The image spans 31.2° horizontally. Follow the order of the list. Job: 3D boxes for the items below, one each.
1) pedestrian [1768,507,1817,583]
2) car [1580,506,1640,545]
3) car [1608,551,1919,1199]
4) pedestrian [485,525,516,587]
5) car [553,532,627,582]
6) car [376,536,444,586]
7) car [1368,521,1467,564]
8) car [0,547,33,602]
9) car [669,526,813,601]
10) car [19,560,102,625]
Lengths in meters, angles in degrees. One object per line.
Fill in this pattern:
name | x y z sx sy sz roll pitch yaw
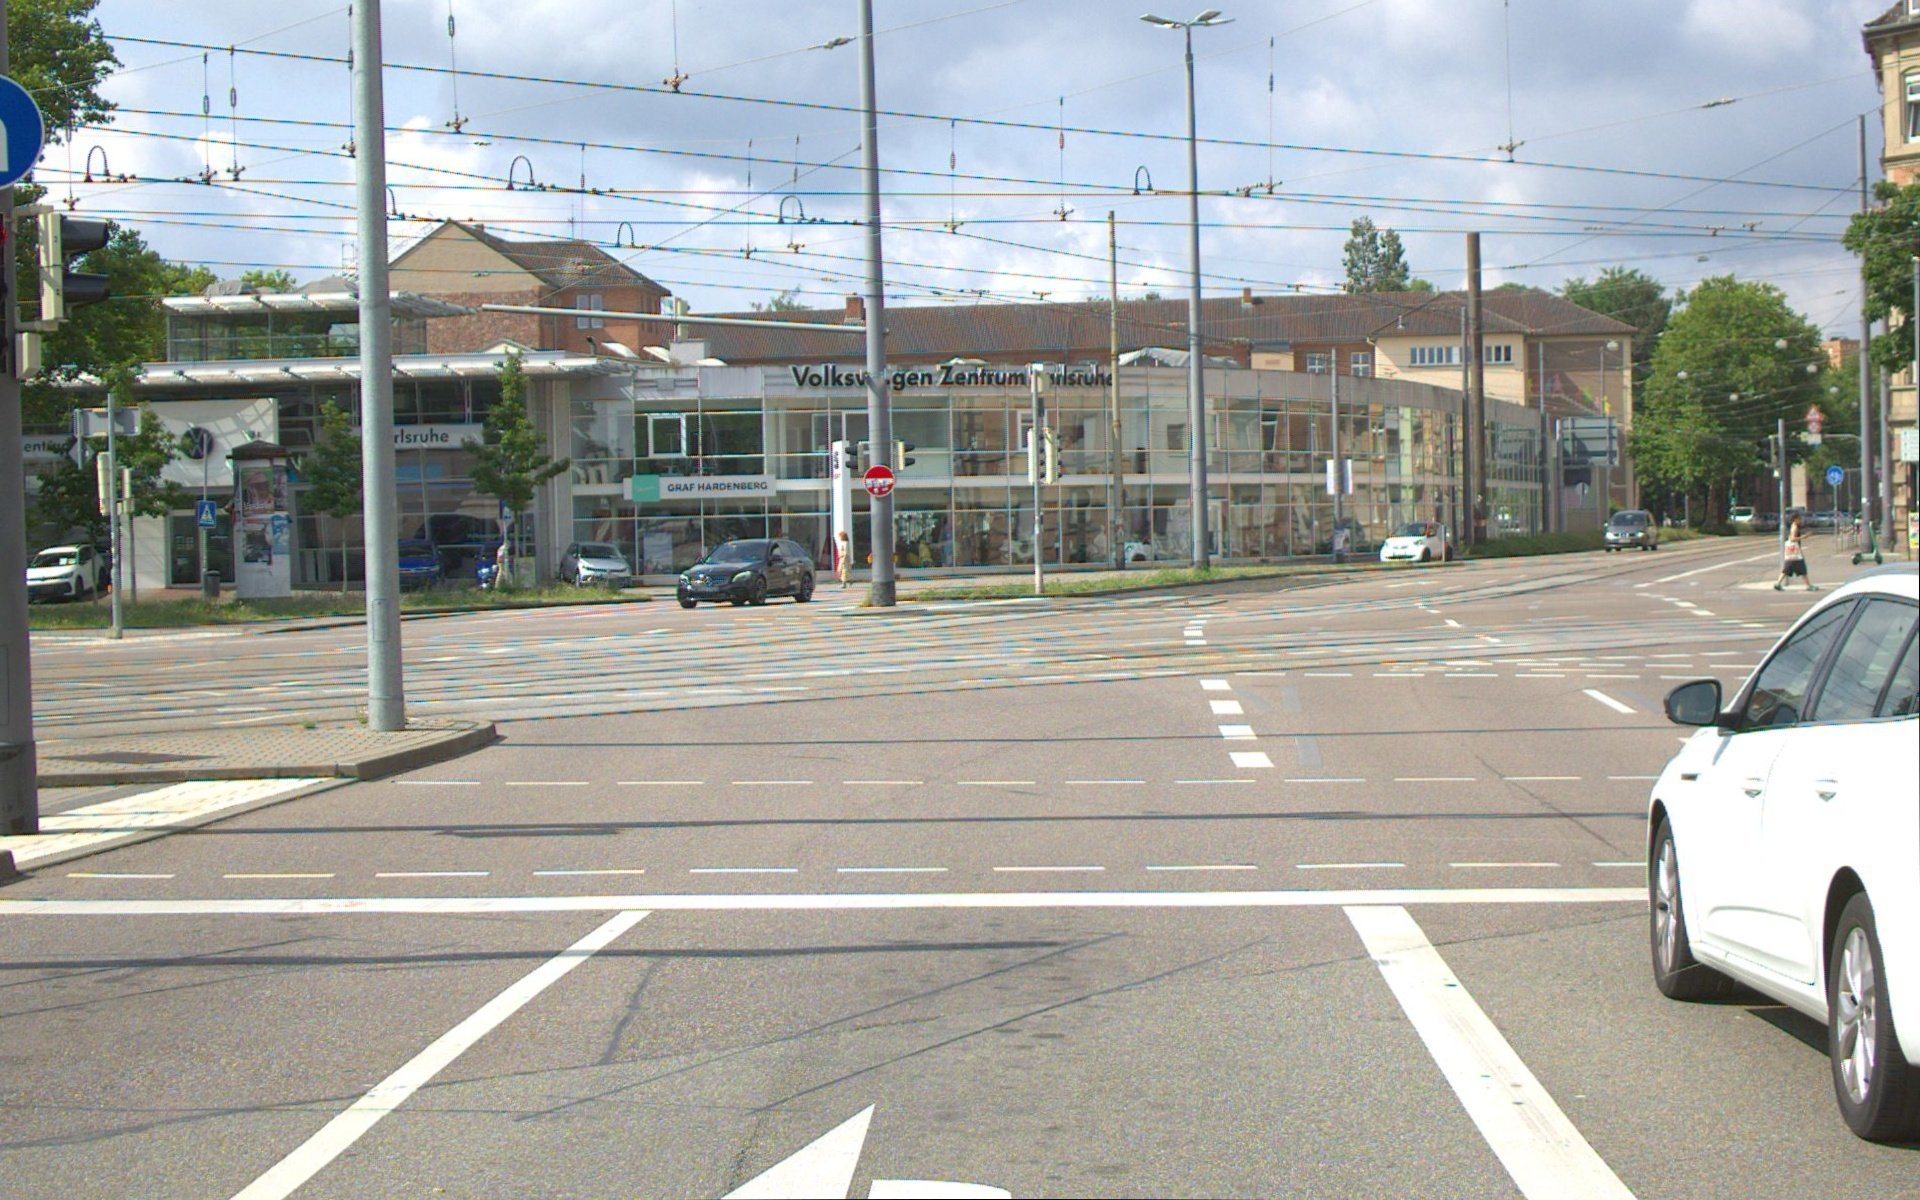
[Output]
pedestrian | 16.913 -1.109 69.866 0.673 1.530 0.674 -2 1 -40
car | 27.339 -3.146 144.497 1.995 1.568 3.997 -1 1 18
car | 3.114 0.613 9.662 1.848 1.467 4.335 -2 1 2
pedestrian | -14.562 -1.387 108.941 0.881 1.941 0.888 -1 1 -11
car | -12.120 -1.416 112.467 1.993 1.590 4.001 -1 1 -11
car | -17.784 -1.282 111.267 1.993 1.546 4.079 -1 1 -7
car | 16.293 -2.059 122.209 1.997 1.437 3.993 0 1 32
car | -31.619 -0.830 112.530 1.797 1.763 4.001 -1 1 -6
car | -4.722 -0.812 74.746 1.995 1.525 3.998 -1 1 14
car | -29.387 -0.259 112.438 1.993 2.007 4.001 -1 1 -6
